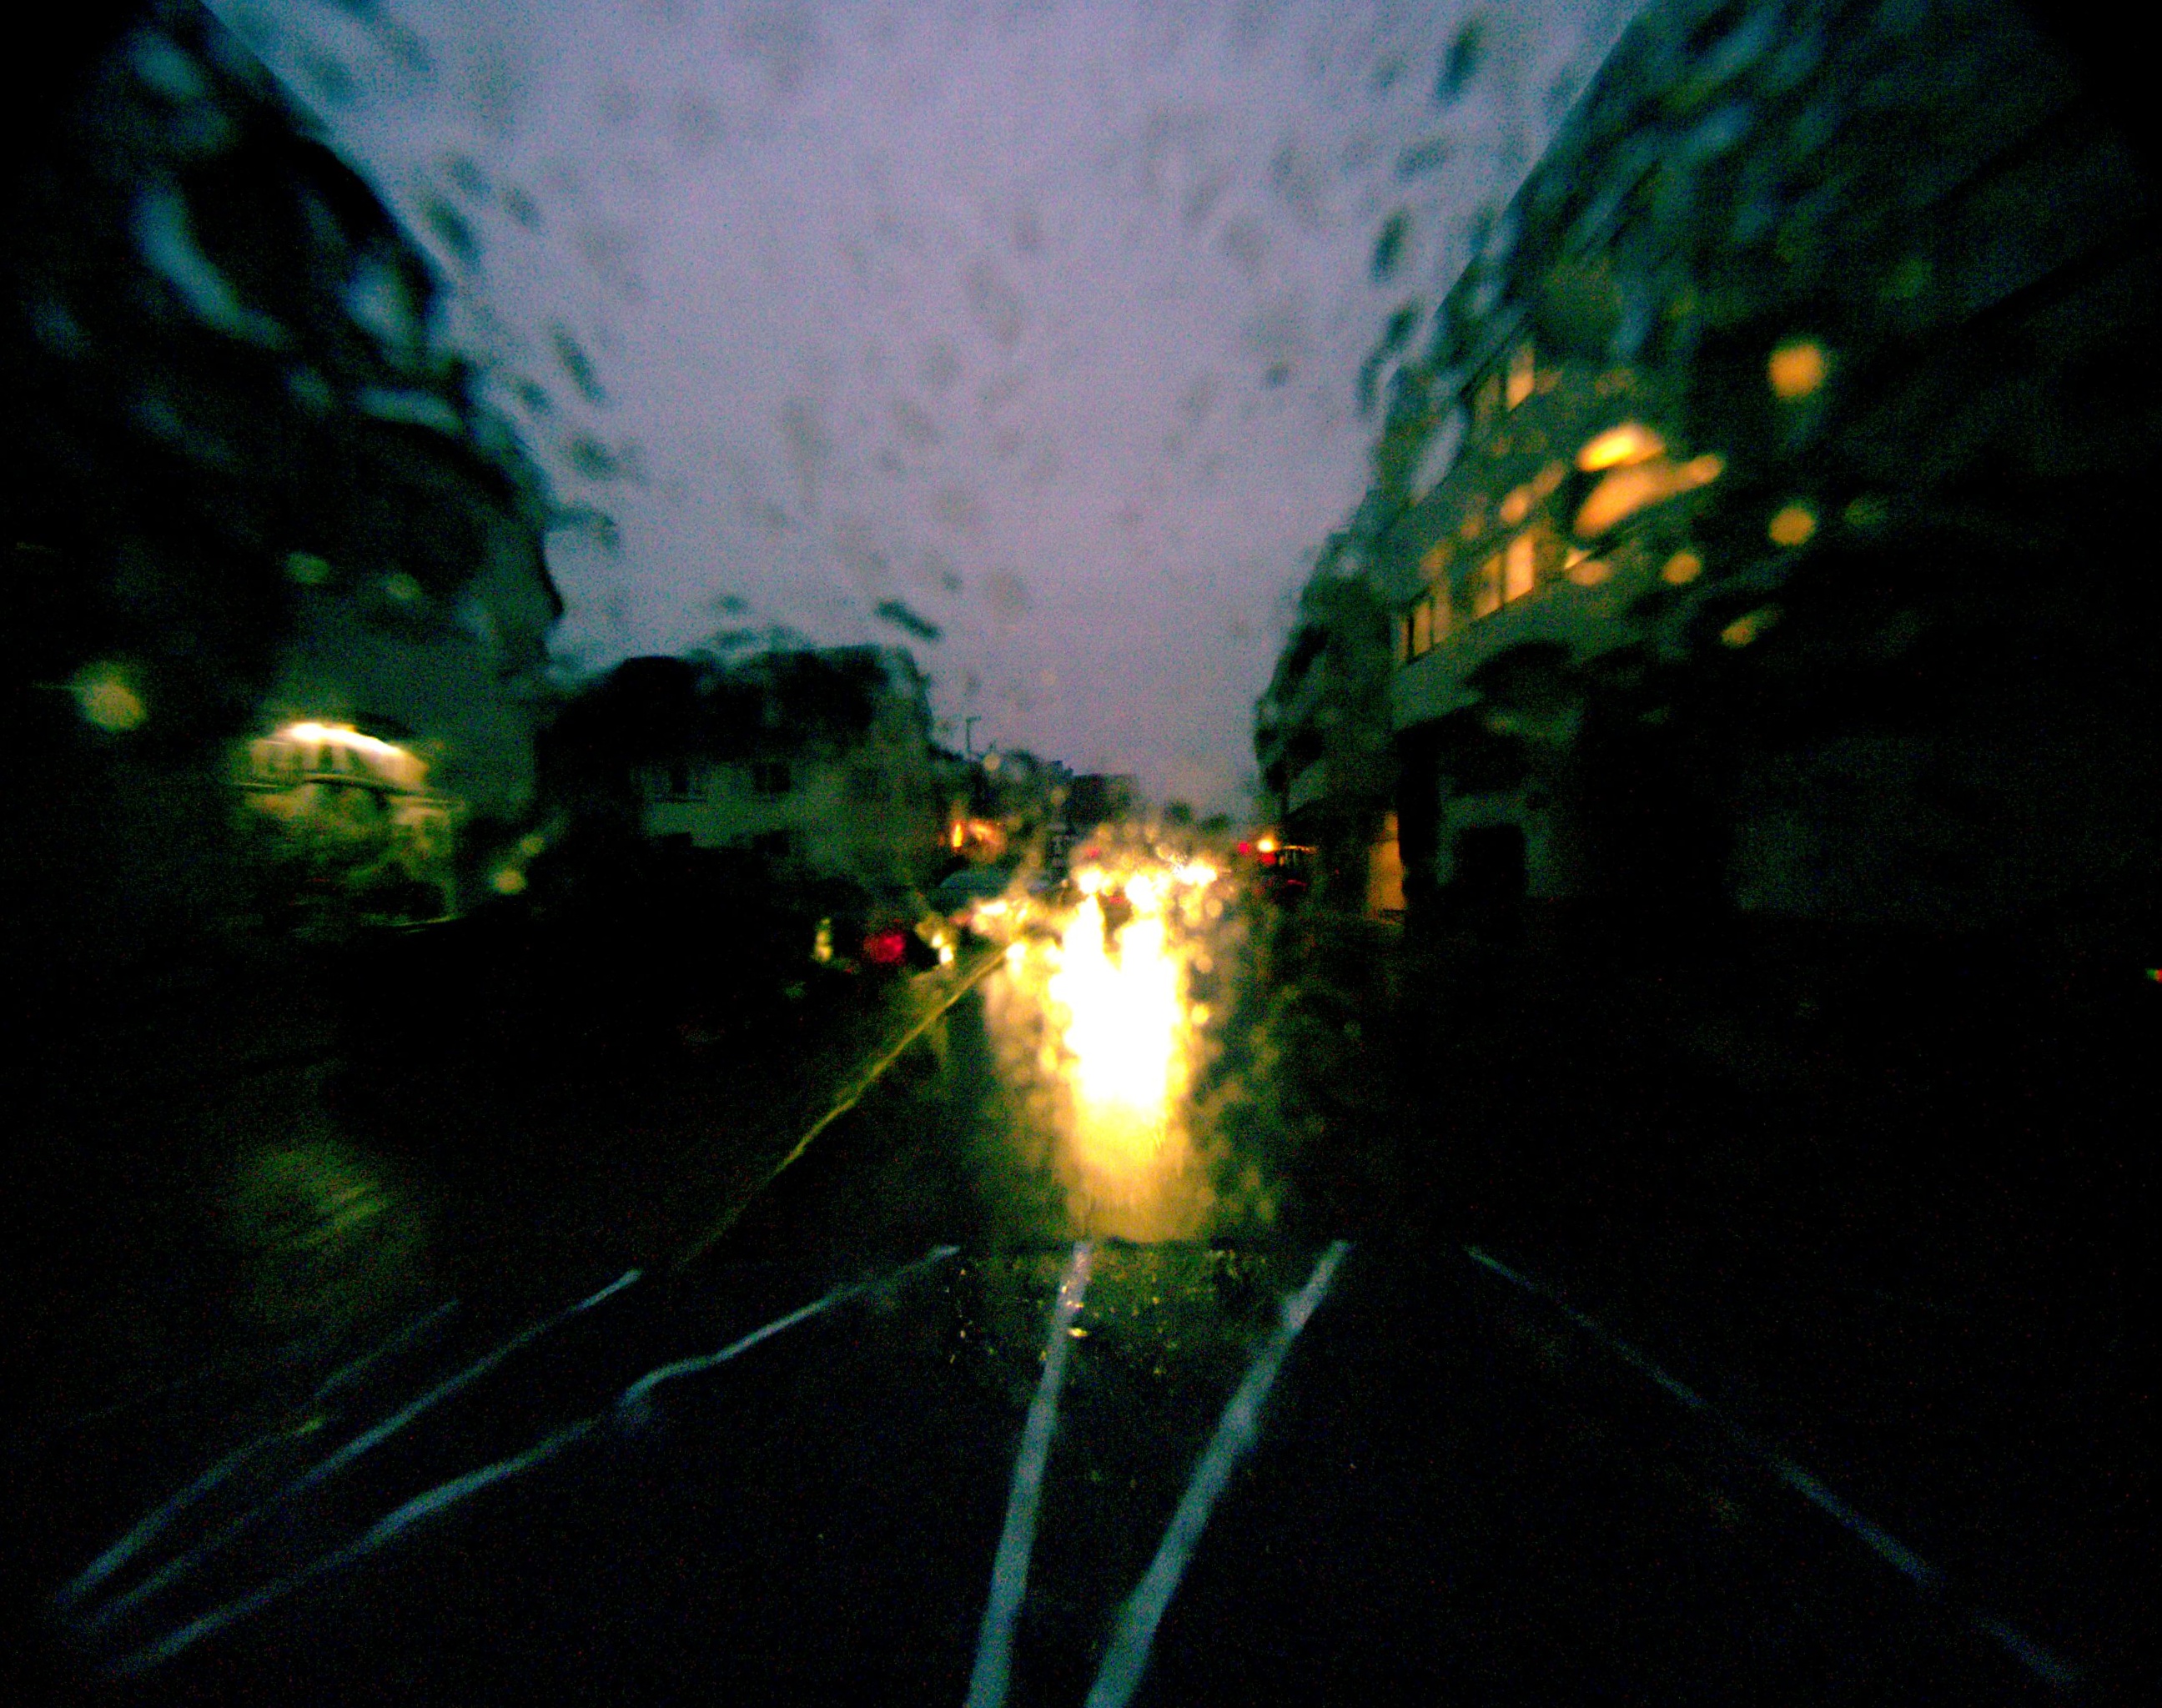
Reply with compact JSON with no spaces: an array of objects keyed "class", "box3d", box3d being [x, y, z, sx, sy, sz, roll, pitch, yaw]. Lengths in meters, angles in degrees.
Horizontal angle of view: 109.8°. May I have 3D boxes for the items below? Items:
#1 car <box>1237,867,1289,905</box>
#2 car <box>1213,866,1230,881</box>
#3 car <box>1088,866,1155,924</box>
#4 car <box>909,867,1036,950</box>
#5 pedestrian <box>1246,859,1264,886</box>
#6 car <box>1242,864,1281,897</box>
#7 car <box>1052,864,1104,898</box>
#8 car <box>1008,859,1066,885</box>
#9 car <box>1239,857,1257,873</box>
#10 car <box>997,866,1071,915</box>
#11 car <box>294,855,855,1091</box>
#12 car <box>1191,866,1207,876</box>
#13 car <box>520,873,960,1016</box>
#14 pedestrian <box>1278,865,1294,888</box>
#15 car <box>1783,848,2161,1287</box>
[{"class":"car","box3d":[7.762,1.324,32.682,1.678,1.438,4.431,-2,-1,7]},{"class":"car","box3d":[15.319,2.118,82.820,1.724,1.604,3.819,-3,-1,10]},{"class":"car","box3d":[1.344,1.186,23.515,1.878,1.622,4.002,0,-1,6]},{"class":"car","box3d":[-2.224,1.093,16.919,1.886,1.537,4.673,1,-1,3]},{"class":"pedestrian","box3d":[12.405,1.295,54.211,1.200,1.926,0.978,0,-1,16]},{"class":"car","box3d":[9.054,1.294,38.360,1.618,1.523,3.931,-2,-1,9]},{"class":"car","box3d":[-0.075,1.250,36.764,1.826,1.414,4.611,2,0,8]},{"class":"car","box3d":[-2.730,1.114,47.665,3.295,1.433,1.687,3,1,8]},{"class":"car","box3d":[29.827,1.929,135.552,2.043,2.643,4.218,-3,-2,25]},{"class":"car","box3d":[-1.528,1.197,26.224,1.798,1.452,4.533,1,0,6]},{"class":"car","box3d":[-3.914,0.905,6.422,3.514,1.670,1.715,2,-1,-4]},{"class":"car","box3d":[18.523,2.615,119.159,1.796,1.501,4.006,1,0,17]},{"class":"car","box3d":[-3.889,1.019,9.282,4.478,1.464,1.898,1,-1,0]},{"class":"pedestrian","box3d":[12.130,1.334,45.010,0.757,1.302,0.829,-1,0,7]},{"class":"car","box3d":[4.948,0.788,2.471,1.799,1.633,3.813,-2,-1,1]}]
